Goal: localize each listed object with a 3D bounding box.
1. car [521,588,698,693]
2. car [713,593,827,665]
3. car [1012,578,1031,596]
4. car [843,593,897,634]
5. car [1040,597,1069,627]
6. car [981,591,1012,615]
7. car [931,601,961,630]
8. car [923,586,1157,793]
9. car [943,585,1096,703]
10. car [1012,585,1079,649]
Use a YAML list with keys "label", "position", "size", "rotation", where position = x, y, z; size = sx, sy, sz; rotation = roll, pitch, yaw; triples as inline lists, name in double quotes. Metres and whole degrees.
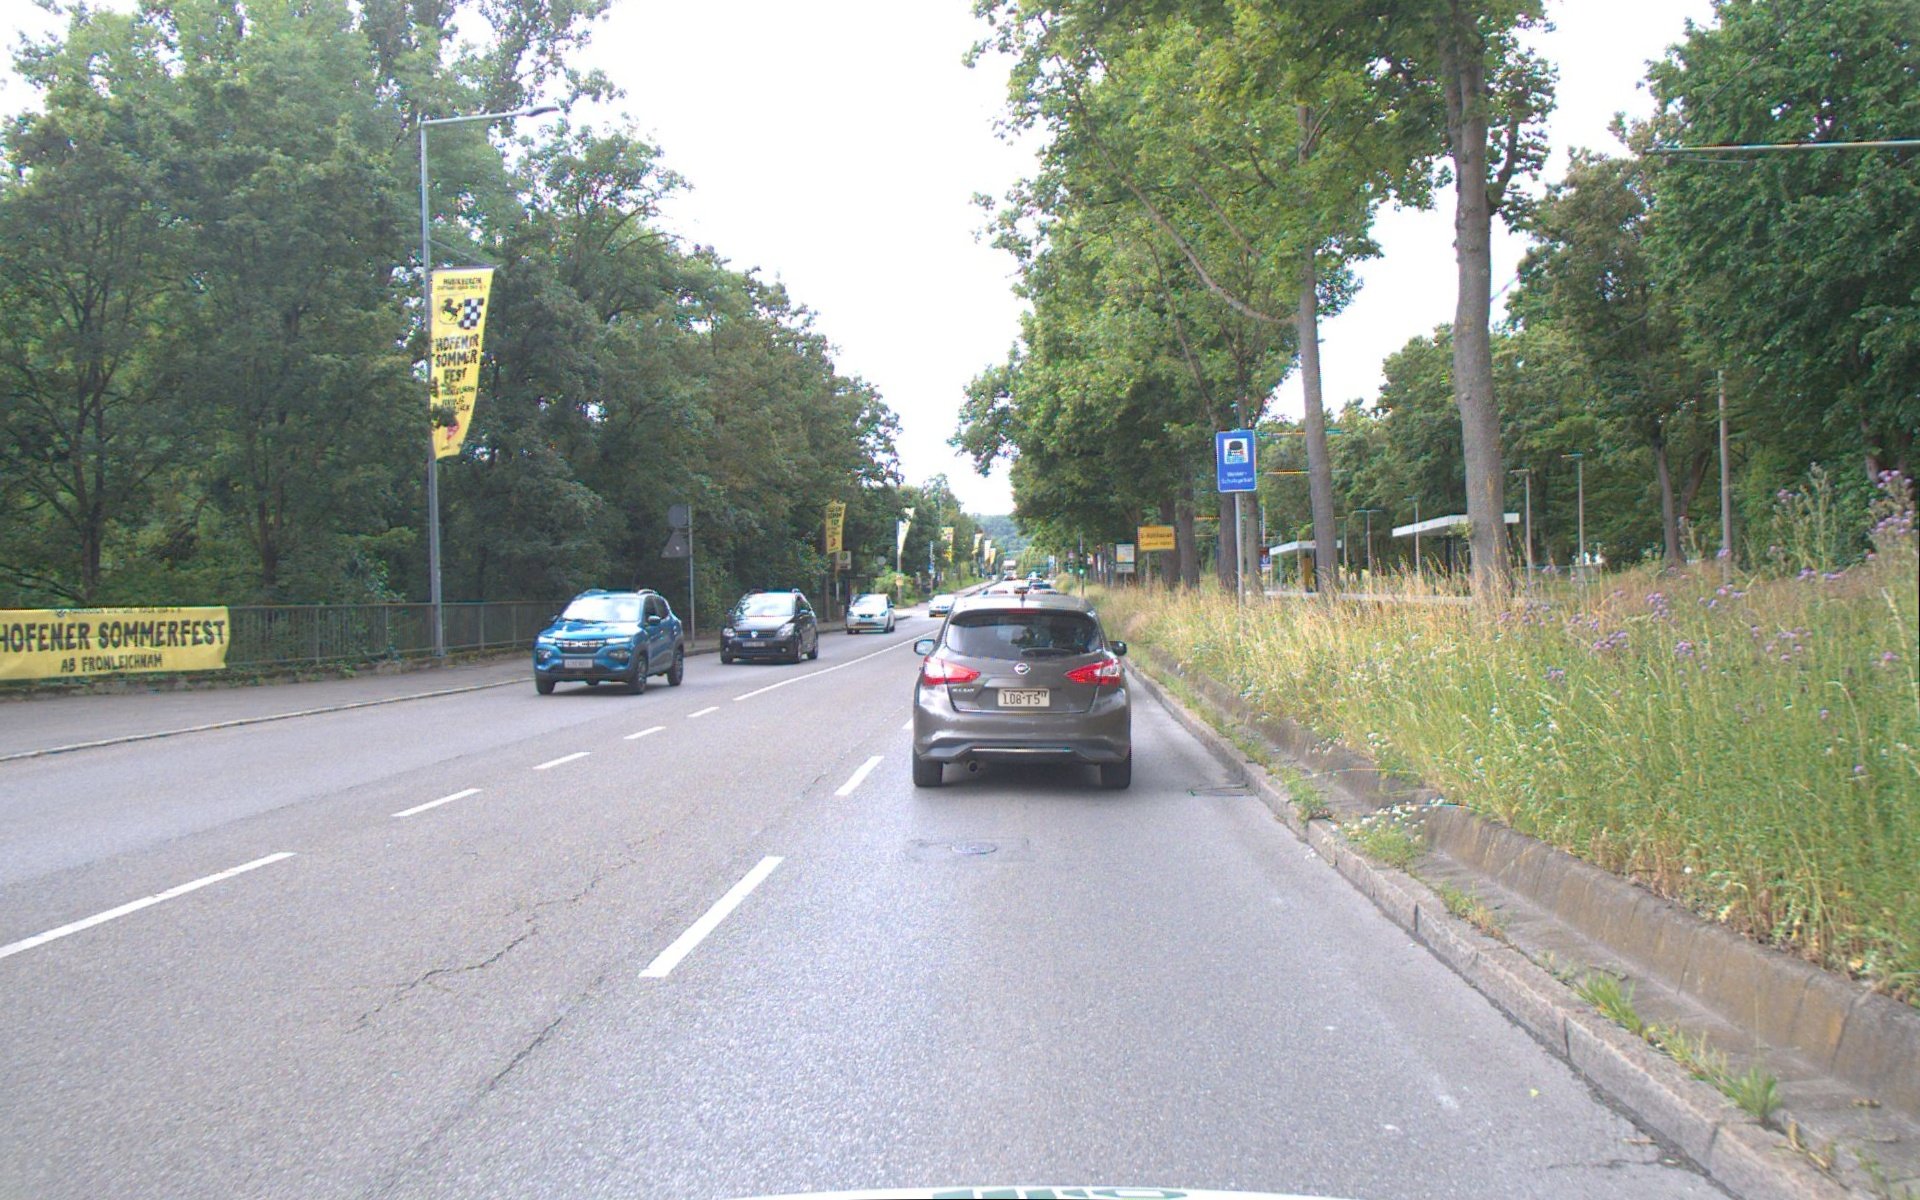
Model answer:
- label: "car"
  position: [-5.335, 0.646, 25.665]
  size: [1.685, 1.467, 4.001]
  rotation: [-1, -2, 3]
- label: "car"
  position: [-4.175, 0.615, 36.935]
  size: [1.779, 1.488, 4.002]
  rotation: [-1, 0, 5]
- label: "car"
  position: [5.660, -1.154, 151.623]
  size: [1.682, 1.426, 3.726]
  rotation: [-1, -2, 2]
- label: "car"
  position: [-3.410, 0.533, 63.468]
  size: [1.716, 1.445, 4.000]
  rotation: [-1, -2, 2]
- label: "car"
  position: [5.887, 0.751, 103.276]
  size: [1.682, 1.723, 4.000]
  rotation: [-1, -2, 2]
- label: "car"
  position: [2.415, 0.205, 108.844]
  size: [1.812, 1.512, 4.422]
  rotation: [-1, -1, 4]
- label: "car"
  position: [-0.841, 0.984, 102.889]
  size: [1.682, 1.723, 3.726]
  rotation: [-1, -2, 2]
- label: "car"
  position: [0.634, 0.708, 14.387]
  size: [1.738, 1.520, 4.000]
  rotation: [1, -1, 1]
- label: "car"
  position: [0.793, 0.639, 24.487]
  size: [1.855, 1.602, 3.996]
  rotation: [0, -1, -4]
- label: "car"
  position: [2.191, 0.435, 43.257]
  size: [1.545, 1.565, 4.000]
  rotation: [-1, -1, 0]
